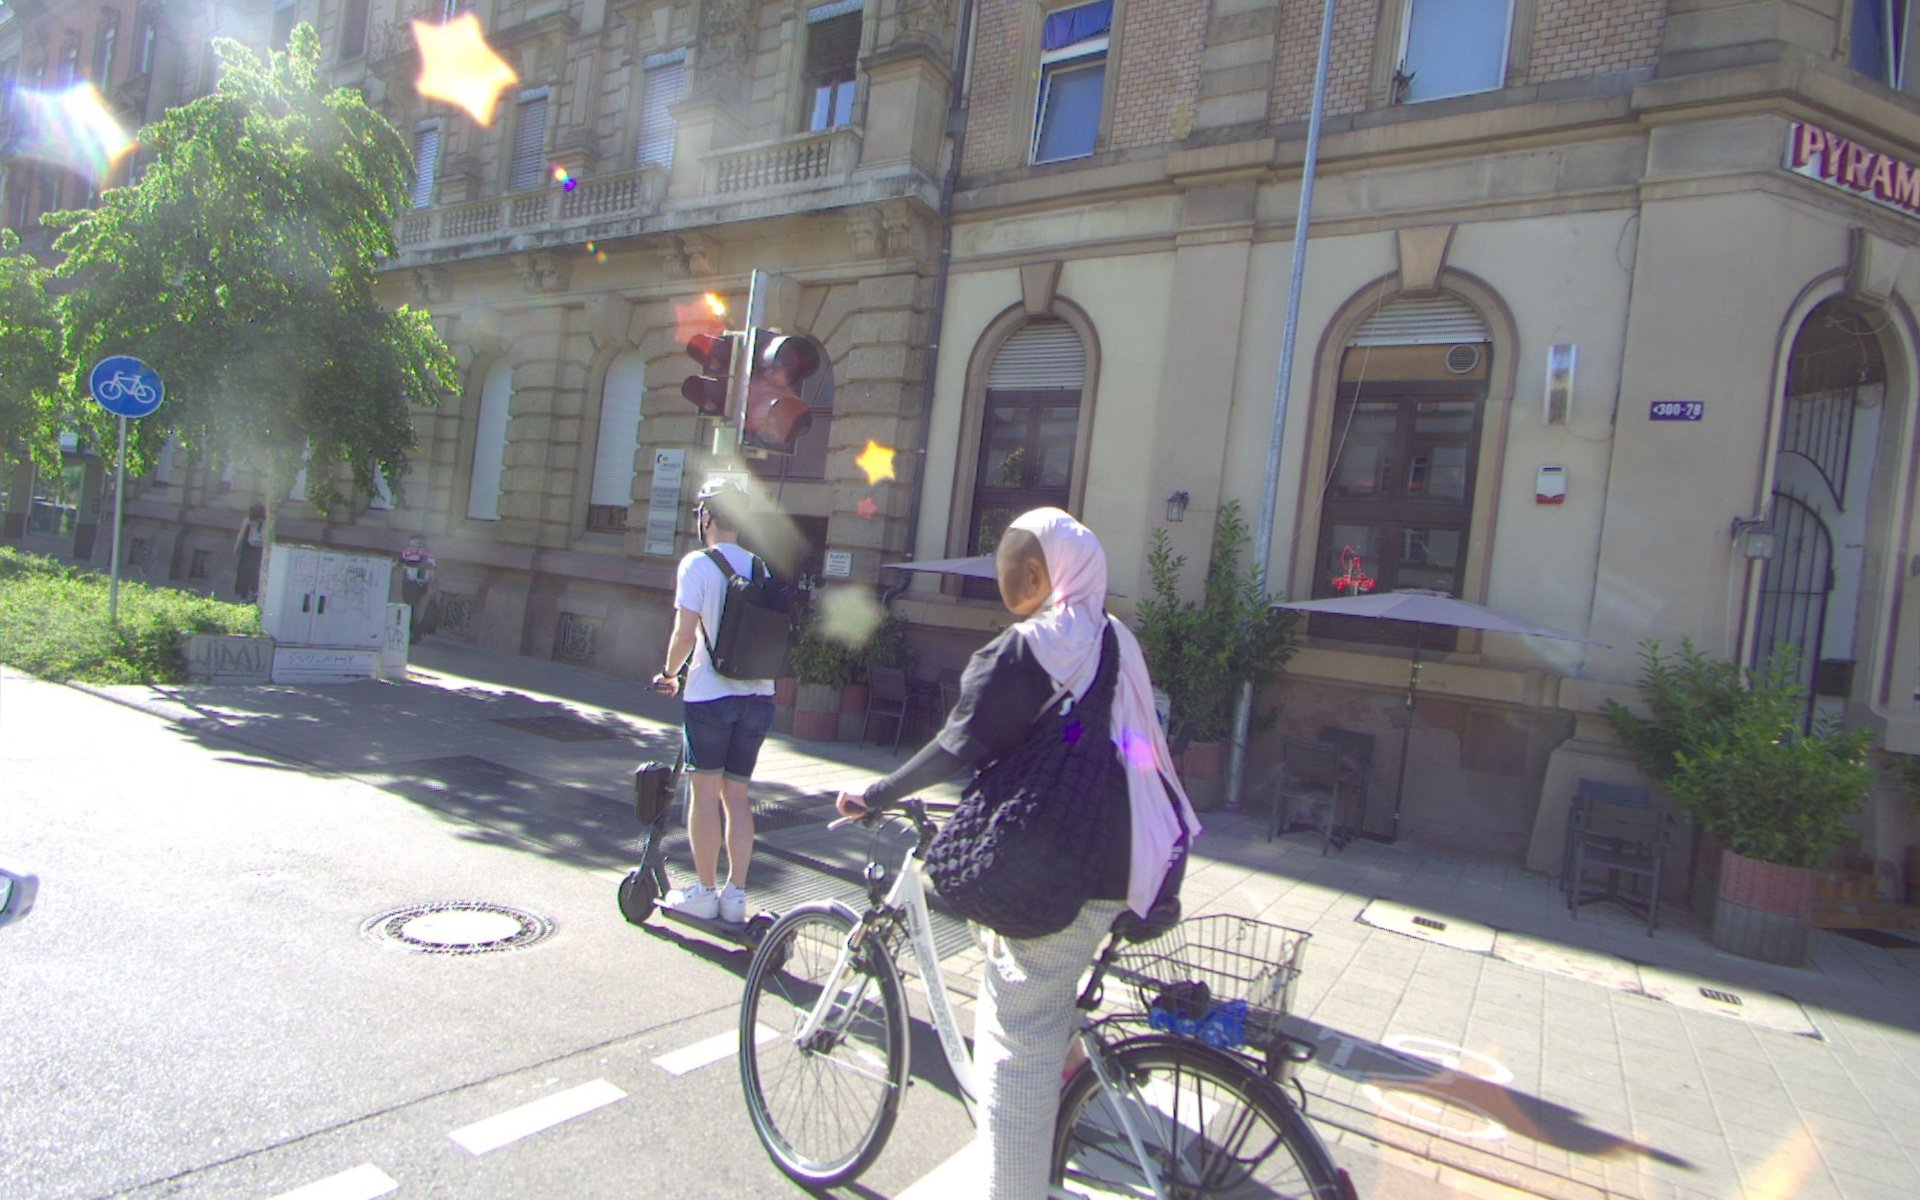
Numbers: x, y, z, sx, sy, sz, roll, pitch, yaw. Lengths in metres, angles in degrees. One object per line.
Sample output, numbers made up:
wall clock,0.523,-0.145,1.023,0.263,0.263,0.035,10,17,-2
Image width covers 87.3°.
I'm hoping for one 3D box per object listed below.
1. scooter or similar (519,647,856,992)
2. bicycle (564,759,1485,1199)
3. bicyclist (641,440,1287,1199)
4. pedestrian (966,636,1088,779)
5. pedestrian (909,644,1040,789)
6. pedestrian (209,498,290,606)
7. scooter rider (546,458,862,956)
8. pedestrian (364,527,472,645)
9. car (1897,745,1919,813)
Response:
scooter or similar,-1.173,0.873,4.358,1.130,1.171,0.647,7,-1,26
bicycle,0.022,1.054,2.312,1.922,1.018,0.724,7,-2,37
bicyclist,-0.003,0.630,2.353,1.074,1.838,0.723,7,-1,38
pedestrian,0.684,1.072,10.233,0.873,1.298,0.726,6,0,31
pedestrian,0.143,1.068,9.426,0.867,1.197,0.718,6,0,31
pedestrian,-13.789,-0.923,19.517,1.081,1.944,0.889,7,2,37
scooter rider,-1.092,0.411,4.356,0.882,1.888,0.663,7,-1,27
pedestrian,-8.504,-0.213,15.791,1.096,1.714,0.969,7,1,33
car,21.415,3.965,20.800,1.587,1.428,3.703,7,-1,21
